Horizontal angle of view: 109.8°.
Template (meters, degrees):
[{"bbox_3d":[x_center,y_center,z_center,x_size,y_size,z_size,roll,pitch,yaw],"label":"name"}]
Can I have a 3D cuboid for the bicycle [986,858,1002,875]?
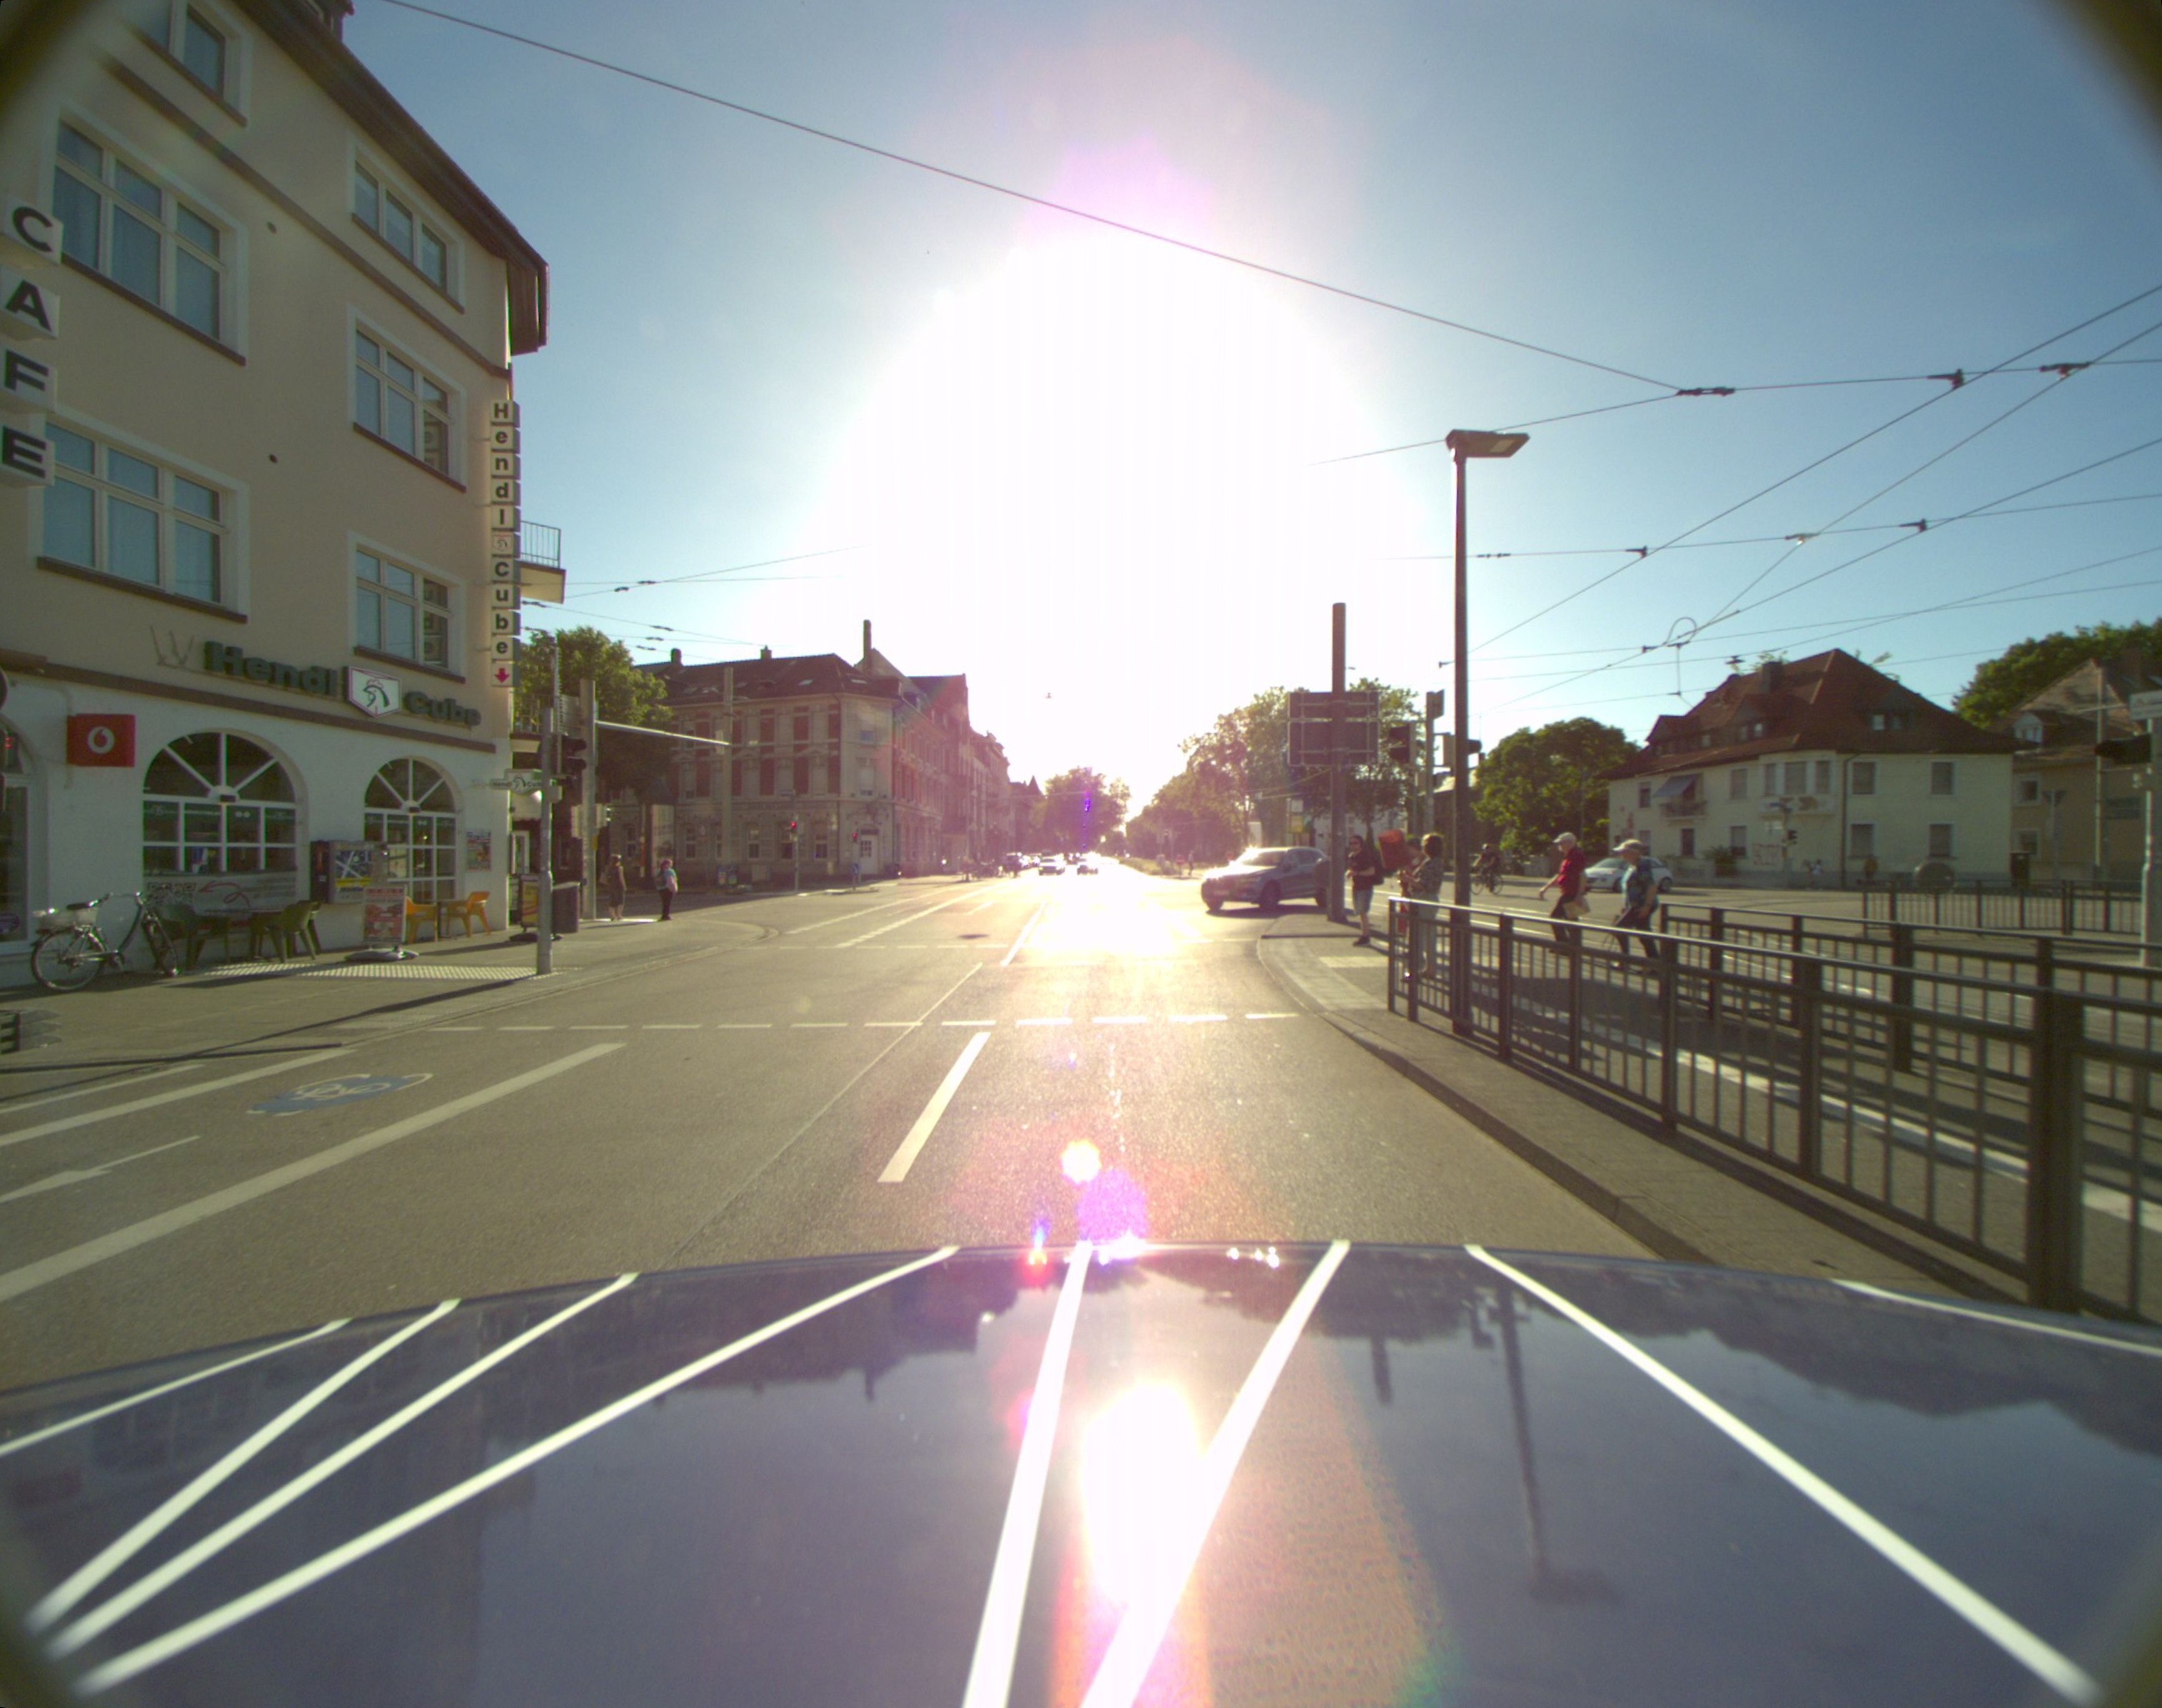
[{"bbox_3d":[-6.394,0.883,55.776,0.693,1.208,2.299,0,1,6],"label":"bicycle"}]

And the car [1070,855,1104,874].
[{"bbox_3d":[0.524,0.806,61.080,2.294,1.391,4.596,0,0,6],"label":"car"}]

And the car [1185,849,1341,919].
[{"bbox_3d":[5.077,0.719,20.780,4.629,1.660,1.975,-1,1,-45],"label":"car"}]

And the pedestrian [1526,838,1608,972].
[{"bbox_3d":[6.821,0.690,10.708,0.651,1.821,0.808,0,1,4],"label":"pedestrian"}]

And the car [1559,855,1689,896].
[{"bbox_3d":[22.397,0.864,31.389,4.274,1.595,1.998,0,1,-12],"label":"car"}]

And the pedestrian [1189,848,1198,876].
[{"bbox_3d":[7.431,0.509,50.230,0.581,1.824,0.559,0,1,10],"label":"pedestrian"}]

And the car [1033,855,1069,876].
[{"bbox_3d":[-2.352,0.878,61.313,2.294,1.566,4.596,0,0,6],"label":"car"}]

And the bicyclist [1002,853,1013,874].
[{"bbox_3d":[-5.577,0.726,57.960,0.696,1.596,0.745,0,1,6],"label":"bicyclist"}]

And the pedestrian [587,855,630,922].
[{"bbox_3d":[-12.153,0.876,19.547,0.663,1.680,0.677,0,1,0],"label":"pedestrian"}]

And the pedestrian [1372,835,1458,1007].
[{"bbox_3d":[3.683,0.705,8.436,0.637,1.817,0.776,0,1,4],"label":"pedestrian"}]

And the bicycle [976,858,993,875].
[{"bbox_3d":[-7.100,0.914,55.926,0.693,1.208,2.299,0,1,6],"label":"bicycle"}]

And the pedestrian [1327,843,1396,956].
[{"bbox_3d":[4.290,0.673,11.668,0.799,1.680,0.776,0,1,4],"label":"pedestrian"}]

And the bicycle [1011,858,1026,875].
[{"bbox_3d":[-4.542,0.885,55.595,0.693,1.208,2.299,0,1,6],"label":"bicycle"}]

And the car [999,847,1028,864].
[{"bbox_3d":[-6.843,0.105,77.988,2.295,1.716,4.595,0,0,3],"label":"car"}]

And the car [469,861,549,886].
[{"bbox_3d":[-36.700,1.227,48.757,4.263,1.483,2.003,0,1,18],"label":"car"}]

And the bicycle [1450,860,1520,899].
[{"bbox_3d":[14.694,0.913,27.621,2.382,1.349,1.020,0,1,-26],"label":"bicycle"}]

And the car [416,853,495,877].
[{"bbox_3d":[-41.317,0.692,50.207,4.263,1.483,2.002,0,1,17],"label":"car"}]

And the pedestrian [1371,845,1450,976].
[{"bbox_3d":[4.361,0.717,10.108,0.743,1.680,0.776,0,1,4],"label":"pedestrian"}]

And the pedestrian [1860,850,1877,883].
[{"bbox_3d":[40.995,0.643,39.566,0.417,1.733,0.409,0,1,0],"label":"pedestrian"}]

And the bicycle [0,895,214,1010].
[{"bbox_3d":[-11.585,1.105,9.049,0.697,1.102,1.863,0,1,-13],"label":"bicycle"}]

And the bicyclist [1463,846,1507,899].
[{"bbox_3d":[14.636,0.662,27.551,1.005,1.872,0.991,-1,1,-26],"label":"bicyclist"}]

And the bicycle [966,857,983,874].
[{"bbox_3d":[-7.832,0.858,55.891,0.693,1.208,2.299,0,1,6],"label":"bicycle"}]

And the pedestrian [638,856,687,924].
[{"bbox_3d":[-10.604,0.917,19.275,0.775,1.680,0.800,-1,-1,0],"label":"pedestrian"}]

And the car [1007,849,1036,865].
[{"bbox_3d":[-6.536,0.284,84.208,2.294,1.716,4.596,0,0,6],"label":"car"}]

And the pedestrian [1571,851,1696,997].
[{"bbox_3d":[6.664,0.801,9.225,0.803,1.680,1.008,0,1,4],"label":"pedestrian"}]

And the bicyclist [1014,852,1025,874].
[{"bbox_3d":[-4.583,0.645,56.293,0.696,1.596,0.745,0,1,6],"label":"bicyclist"}]

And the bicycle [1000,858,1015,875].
[{"bbox_3d":[-5.575,0.932,58.033,0.693,1.208,2.299,0,1,6],"label":"bicycle"}]
